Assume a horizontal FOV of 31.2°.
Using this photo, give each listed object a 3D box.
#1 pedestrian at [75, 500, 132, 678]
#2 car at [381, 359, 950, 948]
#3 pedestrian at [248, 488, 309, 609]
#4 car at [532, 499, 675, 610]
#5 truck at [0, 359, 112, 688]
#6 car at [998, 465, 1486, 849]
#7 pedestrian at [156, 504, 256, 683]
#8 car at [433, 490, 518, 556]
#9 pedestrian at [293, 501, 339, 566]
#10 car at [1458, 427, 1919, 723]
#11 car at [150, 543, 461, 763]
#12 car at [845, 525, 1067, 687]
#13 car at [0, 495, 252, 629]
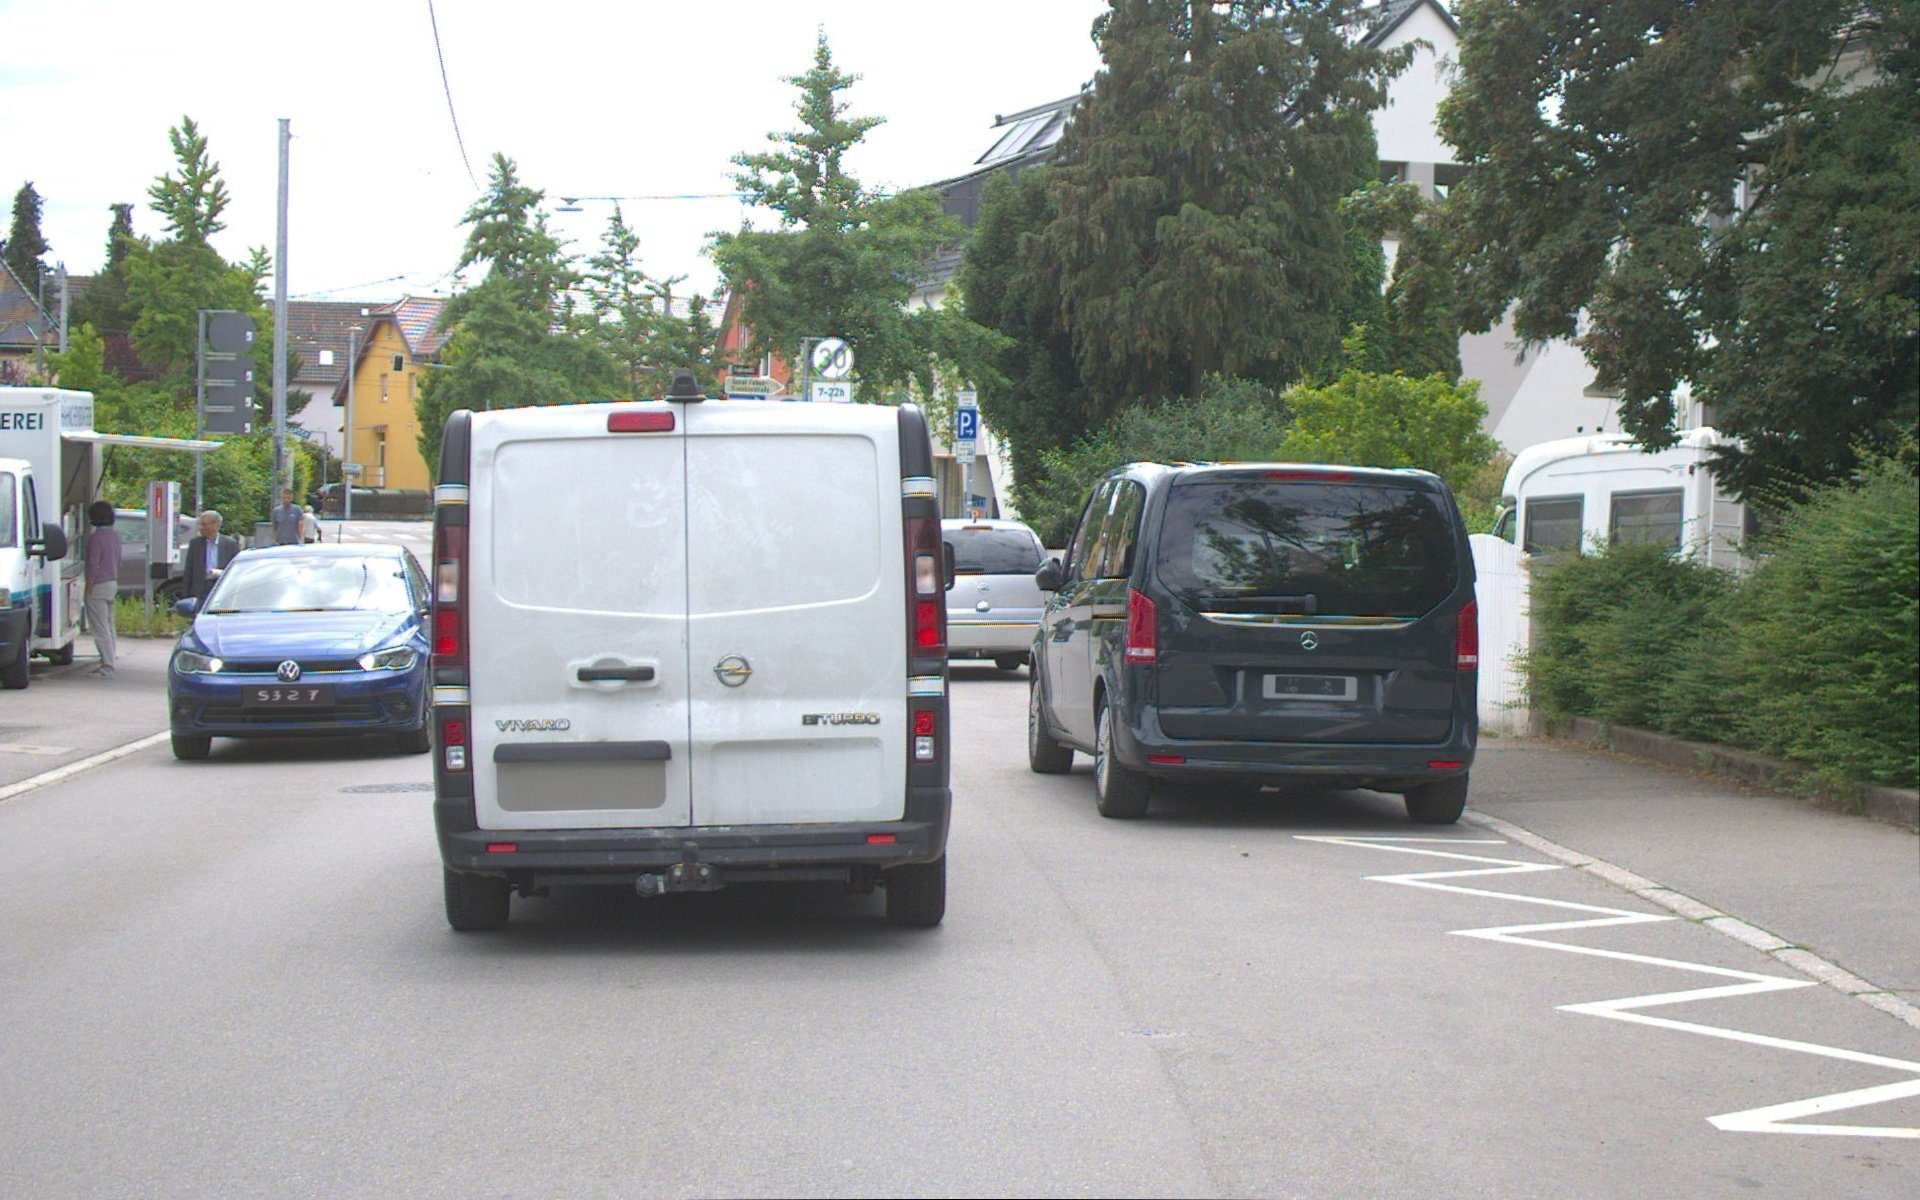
[{"bbox_3d":[-8.304,-0.109,33.338,0.401,1.689,0.597,3,0,-10],"label":"pedestrian"},{"bbox_3d":[-1.195,0.156,13.942,1.915,1.996,4.438,1,1,-5],"label":"car"},{"bbox_3d":[-11.220,-0.853,56.652,0.733,1.939,1.218,3,1,-4],"label":"pedestrian"},{"bbox_3d":[-6.201,-0.810,59.509,1.993,1.842,4.001,0,1,-13],"label":"car"},{"bbox_3d":[-9.667,-0.752,32.828,2.472,2.831,6.709,1,1,-9],"label":"truck"},{"bbox_3d":[1.419,0.241,19.471,1.909,1.842,5.159,2,1,-4],"label":"car"},{"bbox_3d":[-7.348,-0.074,33.541,0.722,1.681,1.109,3,1,-4],"label":"pedestrian"},{"bbox_3d":[-13.236,-2.100,93.769,1.993,1.776,4.001,0,1,-13],"label":"car"},{"bbox_3d":[-15.245,-1.571,81.388,0.876,1.480,0.455,3,1,-32],"label":"pedestrian"},{"bbox_3d":[7.374,-0.290,35.010,2.496,2.672,5.188,3,1,-16],"label":"car"},{"bbox_3d":[-4.548,0.316,24.376,1.693,1.427,3.928,0,1,-4],"label":"car"},{"bbox_3d":[-0.103,0.015,35.603,1.759,1.577,4.019,0,1,-8],"label":"car"},{"bbox_3d":[-12.460,-0.574,49.126,4.310,1.690,1.798,3,1,-19],"label":"car"}]
